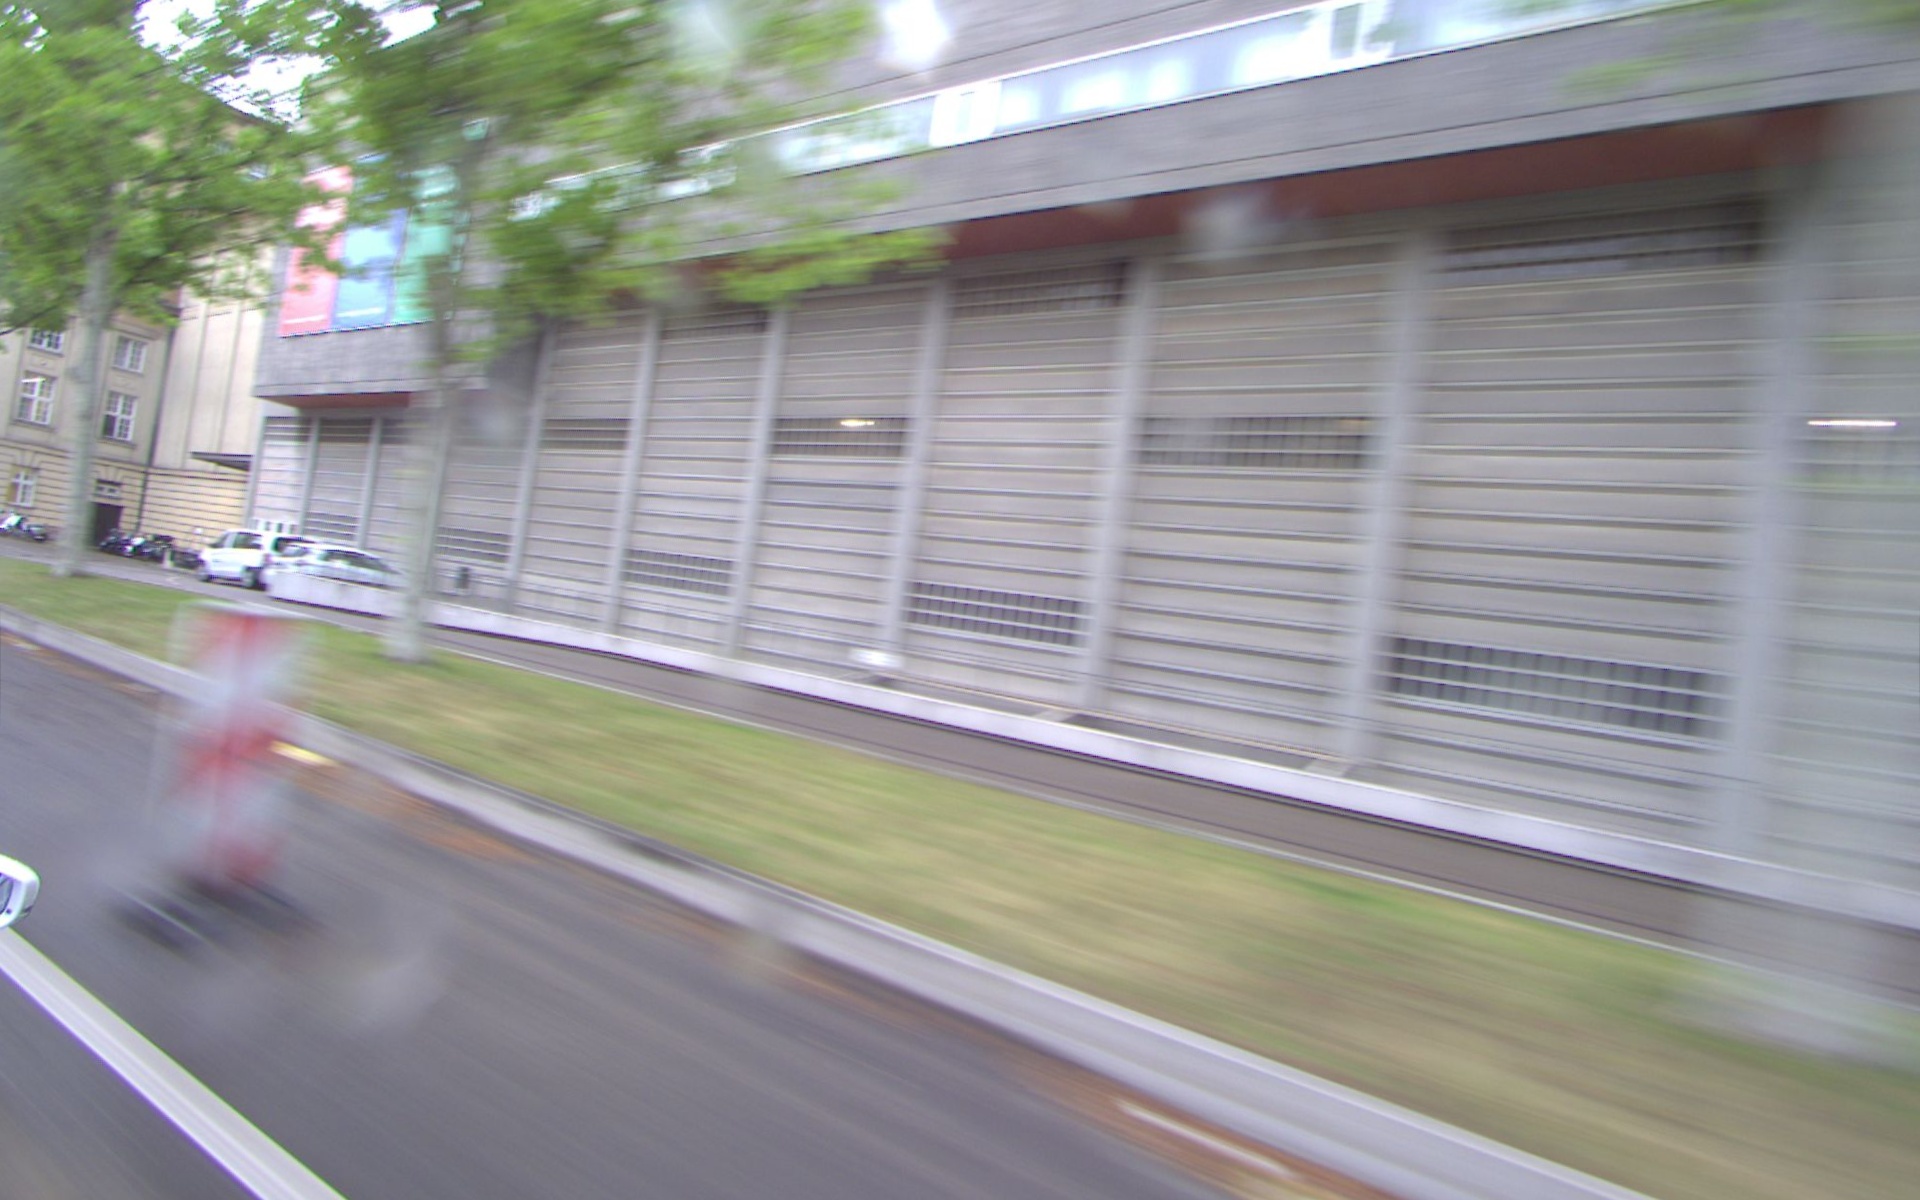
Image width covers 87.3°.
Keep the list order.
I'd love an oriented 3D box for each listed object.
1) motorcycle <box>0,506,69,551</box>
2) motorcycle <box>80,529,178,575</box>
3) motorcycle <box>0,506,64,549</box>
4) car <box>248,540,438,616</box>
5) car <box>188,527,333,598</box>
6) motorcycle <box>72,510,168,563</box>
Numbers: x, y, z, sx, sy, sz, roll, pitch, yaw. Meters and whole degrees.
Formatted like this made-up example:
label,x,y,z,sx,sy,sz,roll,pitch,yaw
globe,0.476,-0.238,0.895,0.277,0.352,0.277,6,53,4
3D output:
label,x,y,z,sx,sy,sz,roll,pitch,yaw
motorcycle,-43.517,-3.390,46.545,0.876,1.558,3.170,5,-6,35
motorcycle,-40.702,-2.344,49.334,1.134,1.546,3.360,5,-6,34
motorcycle,-44.324,-3.487,47.150,0.876,1.558,3.168,5,-6,36
car,-17.113,-0.574,28.070,1.902,1.577,3.994,4,-4,32
car,-23.102,-1.251,33.173,5.014,1.779,1.998,5,-4,33
motorcycle,-42.576,-3.197,51.043,1.134,2.035,3.357,5,-4,34
